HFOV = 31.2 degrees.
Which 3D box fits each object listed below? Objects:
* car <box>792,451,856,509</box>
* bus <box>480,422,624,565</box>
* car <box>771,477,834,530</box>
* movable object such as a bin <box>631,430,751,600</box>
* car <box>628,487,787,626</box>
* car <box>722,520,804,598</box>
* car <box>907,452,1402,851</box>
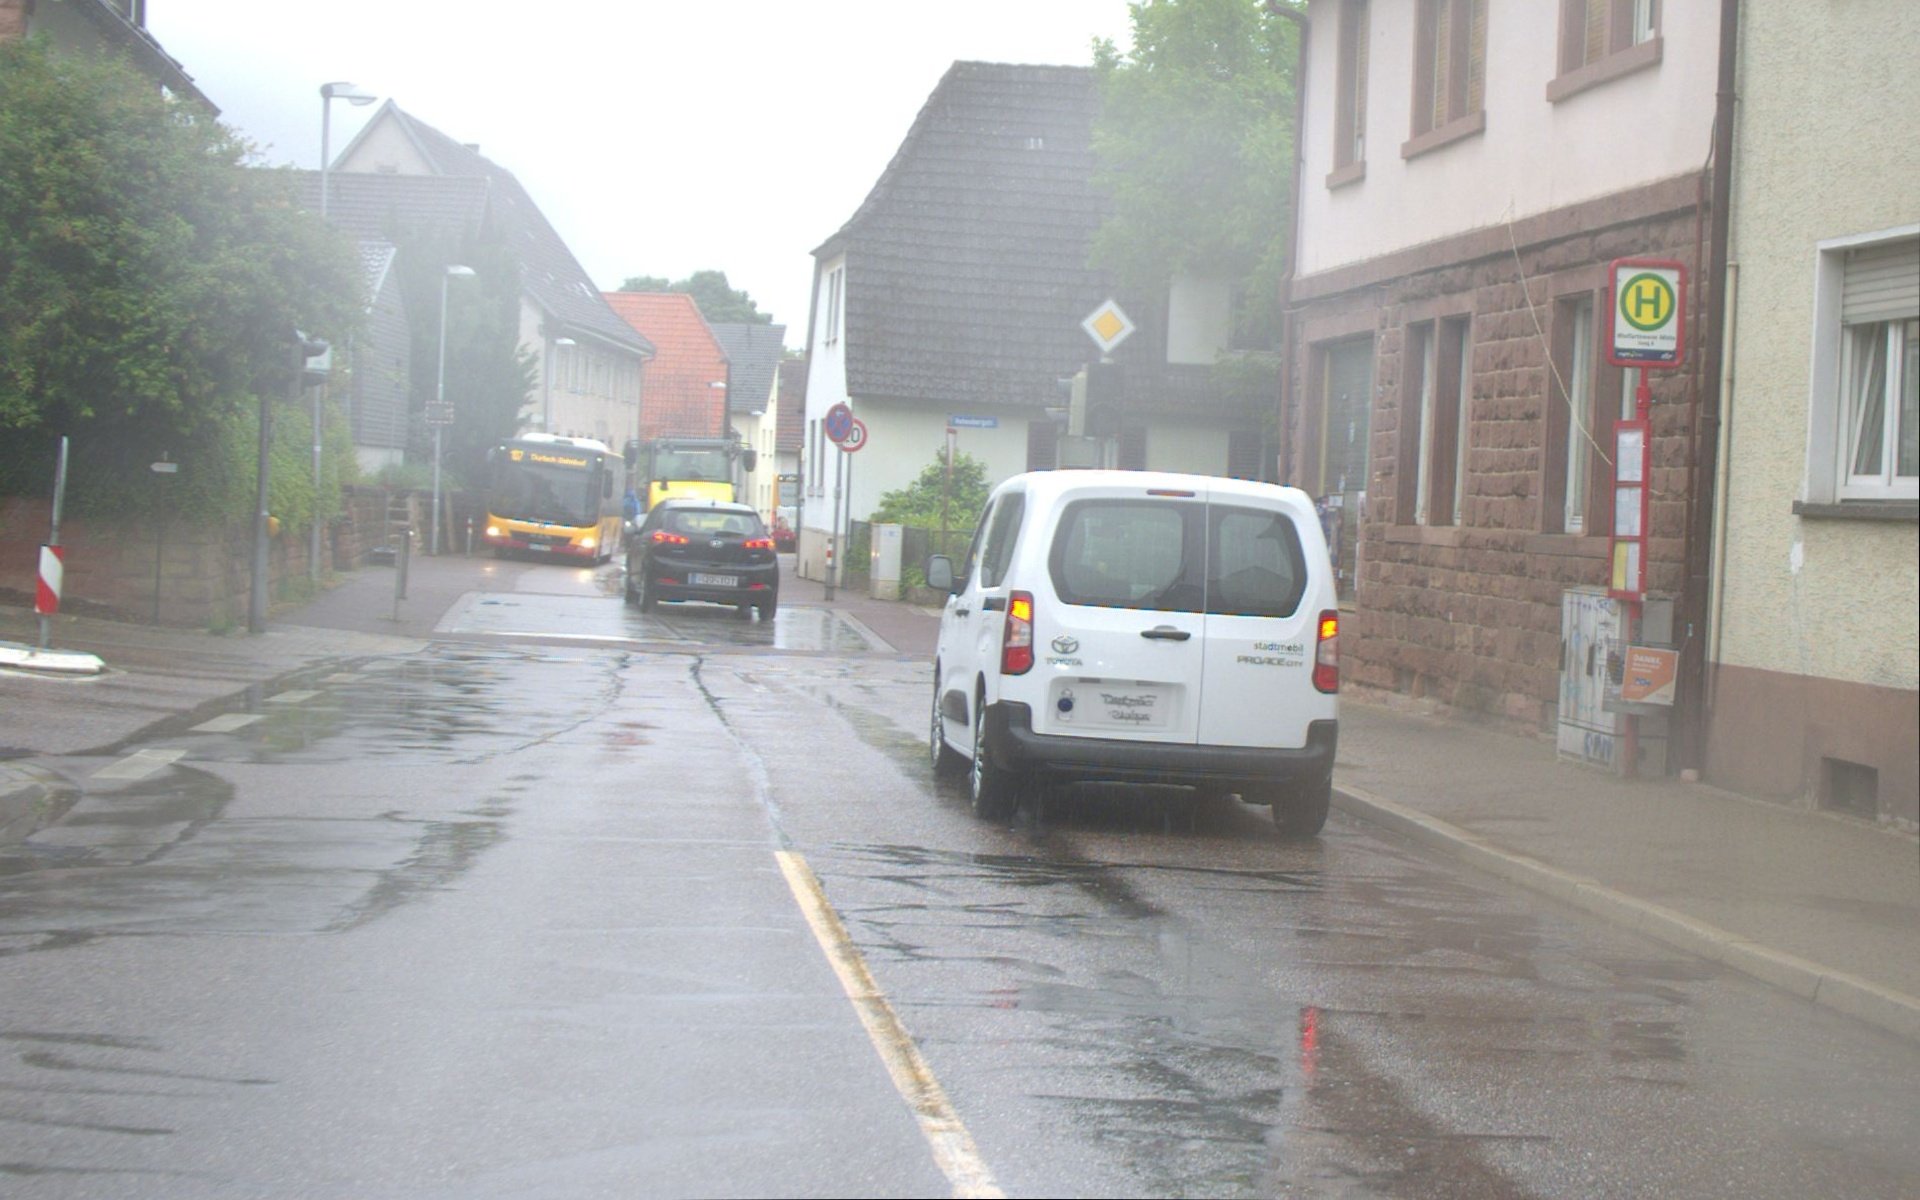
[{"bbox_3d":[-4.414,-3.903,112.057,1.851,1.787,4.000,1,1,0],"label":"car"},{"bbox_3d":[-9.796,-2.714,83.599,2.649,2.989,12.196,4,3,-4],"label":"bus"},{"bbox_3d":[-6.270,-3.840,137.050,1.994,2.007,4.000,1,1,4],"label":"car"},{"bbox_3d":[-4.574,-1.446,58.004,1.726,2.644,3.975,4,1,-6],"label":"movable object such as a bin"},{"bbox_3d":[-3.314,-0.600,44.501,1.809,1.591,3.757,4,1,-6],"label":"car"},{"bbox_3d":[-5.077,-1.071,89.028,1.896,1.941,4.000,1,1,-1],"label":"car"},{"bbox_3d":[0.909,0.190,18.396,1.894,1.787,3.814,4,1,-7],"label":"car"}]
